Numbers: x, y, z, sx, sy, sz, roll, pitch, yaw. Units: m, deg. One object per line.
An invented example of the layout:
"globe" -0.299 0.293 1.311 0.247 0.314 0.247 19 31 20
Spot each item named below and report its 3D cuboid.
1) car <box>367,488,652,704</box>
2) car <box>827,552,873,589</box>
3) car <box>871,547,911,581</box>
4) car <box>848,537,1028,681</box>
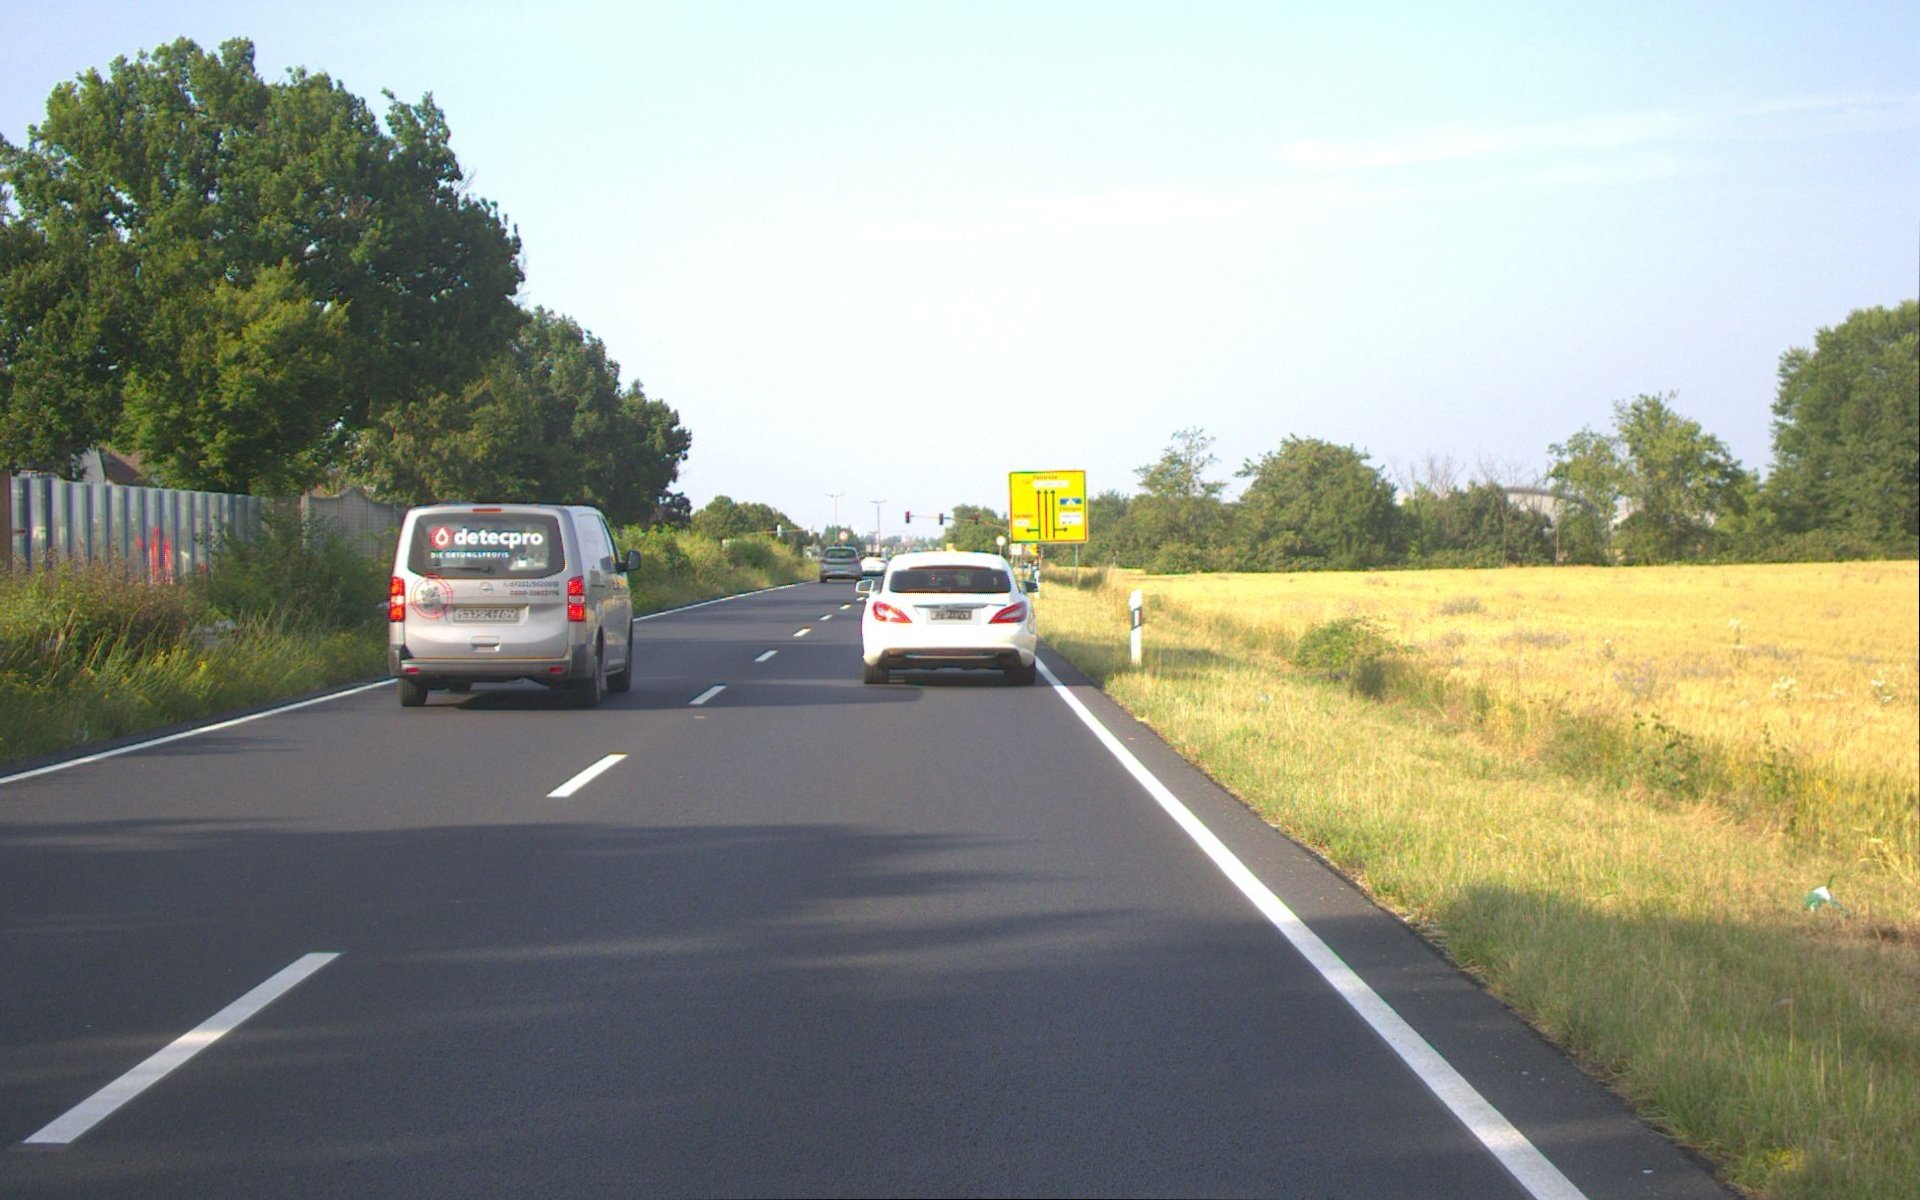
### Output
"car" -4.221 -0.083 32.994 2.025 1.885 4.958 1 1 0
"car" -4.524 -1.223 141.622 1.717 1.487 3.584 1 0 0
"car" -3.392 -1.754 168.396 1.877 1.645 3.664 1 0 -2
"car" -0.249 0.076 38.019 1.894 1.503 4.000 0 0 -1
